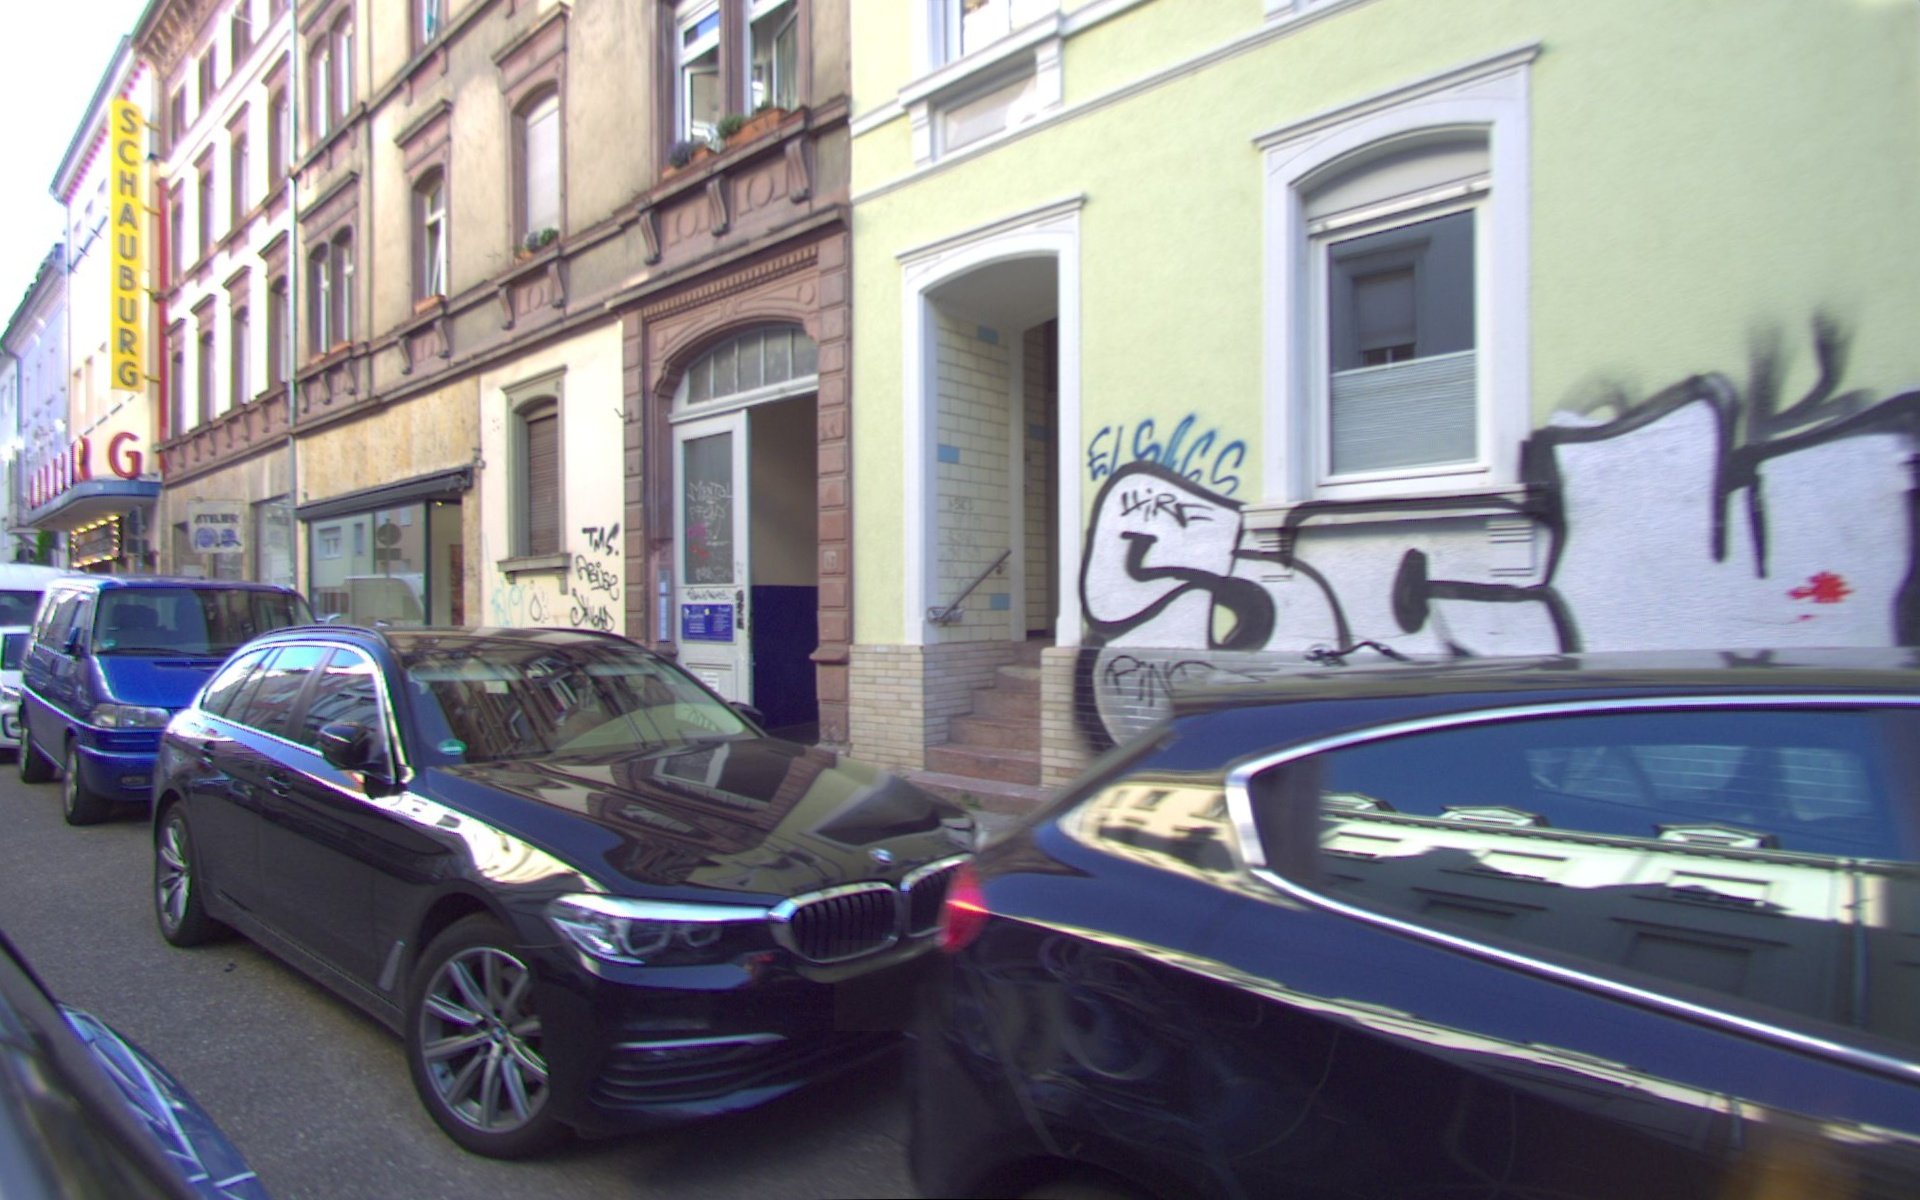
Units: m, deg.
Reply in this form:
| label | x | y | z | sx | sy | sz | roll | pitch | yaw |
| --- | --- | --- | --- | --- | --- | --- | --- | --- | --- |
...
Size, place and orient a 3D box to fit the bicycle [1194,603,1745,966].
| label | x | y | z | sx | sy | sz | roll | pitch | yaw |
| --- | --- | --- | --- | --- | --- | --- | --- | --- | --- |
| bicycle | 2.163 | 0.677 | 4.534 | 2.085 | 1.281 | 0.666 | -2 | -1 | 41 |

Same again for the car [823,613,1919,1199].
| label | x | y | z | sx | sy | sz | roll | pitch | yaw |
| --- | --- | --- | --- | --- | --- | --- | --- | --- | --- |
| car | 1.814 | 0.728 | 1.144 | 3.998 | 1.438 | 1.718 | -2 | -2 | 41 |

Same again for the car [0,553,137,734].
| label | x | y | z | sx | sy | sz | roll | pitch | yaw |
| --- | --- | --- | --- | --- | --- | --- | --- | --- | --- |
| car | -15.124 | 0.659 | 16.009 | 5.916 | 2.471 | 2.146 | -2 | -3 | 40 |

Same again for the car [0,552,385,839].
| label | x | y | z | sx | sy | sz | roll | pitch | yaw |
| --- | --- | --- | --- | --- | --- | --- | --- | --- | --- |
| car | -6.973 | 0.721 | 8.959 | 4.611 | 1.906 | 1.808 | -2 | -4 | 41 |

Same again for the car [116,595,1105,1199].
| label | x | y | z | sx | sy | sz | roll | pitch | yaw |
| --- | --- | --- | --- | --- | --- | --- | --- | --- | --- |
| car | -1.864 | 0.795 | 4.329 | 4.640 | 1.451 | 1.843 | -2 | -2 | 39 |

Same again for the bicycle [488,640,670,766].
| label | x | y | z | sx | sy | sz | roll | pitch | yaw |
| --- | --- | --- | --- | --- | --- | --- | --- | --- | --- |
| bicycle | -3.711 | 0.935 | 9.769 | 2.029 | 1.028 | 0.747 | -2 | 2 | 42 |

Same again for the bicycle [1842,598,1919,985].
| label | x | y | z | sx | sy | sz | roll | pitch | yaw |
| --- | --- | --- | --- | --- | --- | --- | --- | --- | --- |
| bicycle | 4.136 | 0.613 | 2.944 | 2.325 | 1.255 | 0.660 | -2 | 2 | 41 |

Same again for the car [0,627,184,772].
| label | x | y | z | sx | sy | sz | roll | pitch | yaw |
| --- | --- | --- | --- | --- | --- | --- | --- | --- | --- |
| car | -10.753 | 1.063 | 12.021 | 3.836 | 1.458 | 1.629 | -2 | -2 | 40 |
